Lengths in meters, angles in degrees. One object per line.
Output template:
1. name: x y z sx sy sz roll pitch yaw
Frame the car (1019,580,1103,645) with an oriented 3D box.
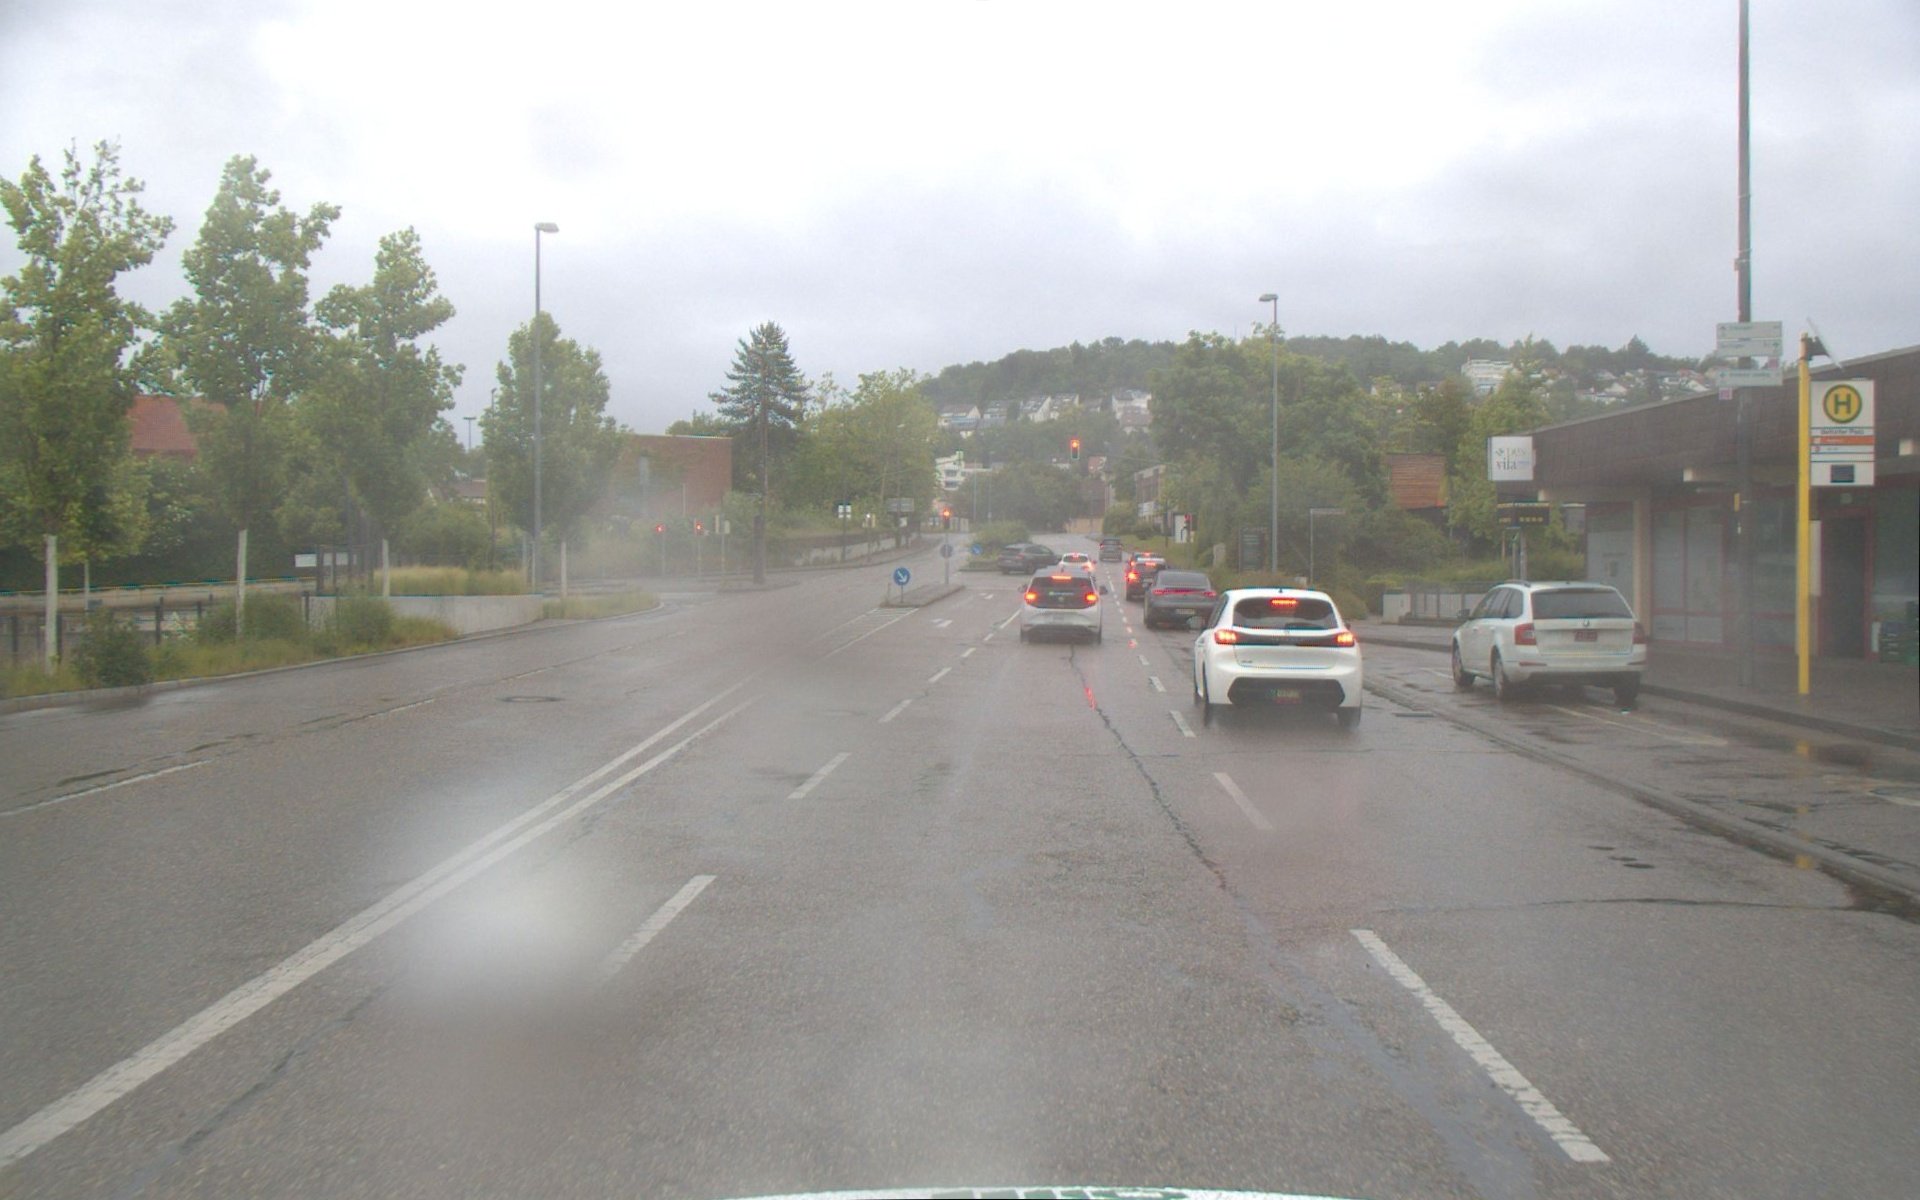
1. car: 2.200 0.266 35.948 1.705 1.318 3.335 -1 0 4

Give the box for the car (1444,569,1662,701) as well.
1. car: 7.707 0.380 21.918 1.694 1.523 4.484 -2 1 6

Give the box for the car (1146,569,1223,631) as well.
1. car: 5.842 -0.043 43.332 1.698 1.412 3.354 1 3 2

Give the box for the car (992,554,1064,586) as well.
1. car: 3.662 -1.610 88.901 3.478 1.596 1.782 0 -2 -30

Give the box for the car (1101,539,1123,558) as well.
1. car: 10.200 -3.453 111.092 1.338 1.177 2.427 -1 -1 2

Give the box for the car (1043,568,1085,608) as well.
1. car: 3.249 -0.362 51.916 1.188 1.176 2.270 -1 -2 1

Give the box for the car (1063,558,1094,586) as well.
1. car: 5.421 -1.260 76.038 1.356 1.146 2.611 -1 -1 3

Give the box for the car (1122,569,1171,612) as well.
1. car: 7.059 -0.339 62.861 1.613 1.511 3.367 -1 -1 2

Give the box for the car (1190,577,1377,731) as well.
1. car: 3.594 0.528 18.963 1.655 1.545 3.936 0 1 4
